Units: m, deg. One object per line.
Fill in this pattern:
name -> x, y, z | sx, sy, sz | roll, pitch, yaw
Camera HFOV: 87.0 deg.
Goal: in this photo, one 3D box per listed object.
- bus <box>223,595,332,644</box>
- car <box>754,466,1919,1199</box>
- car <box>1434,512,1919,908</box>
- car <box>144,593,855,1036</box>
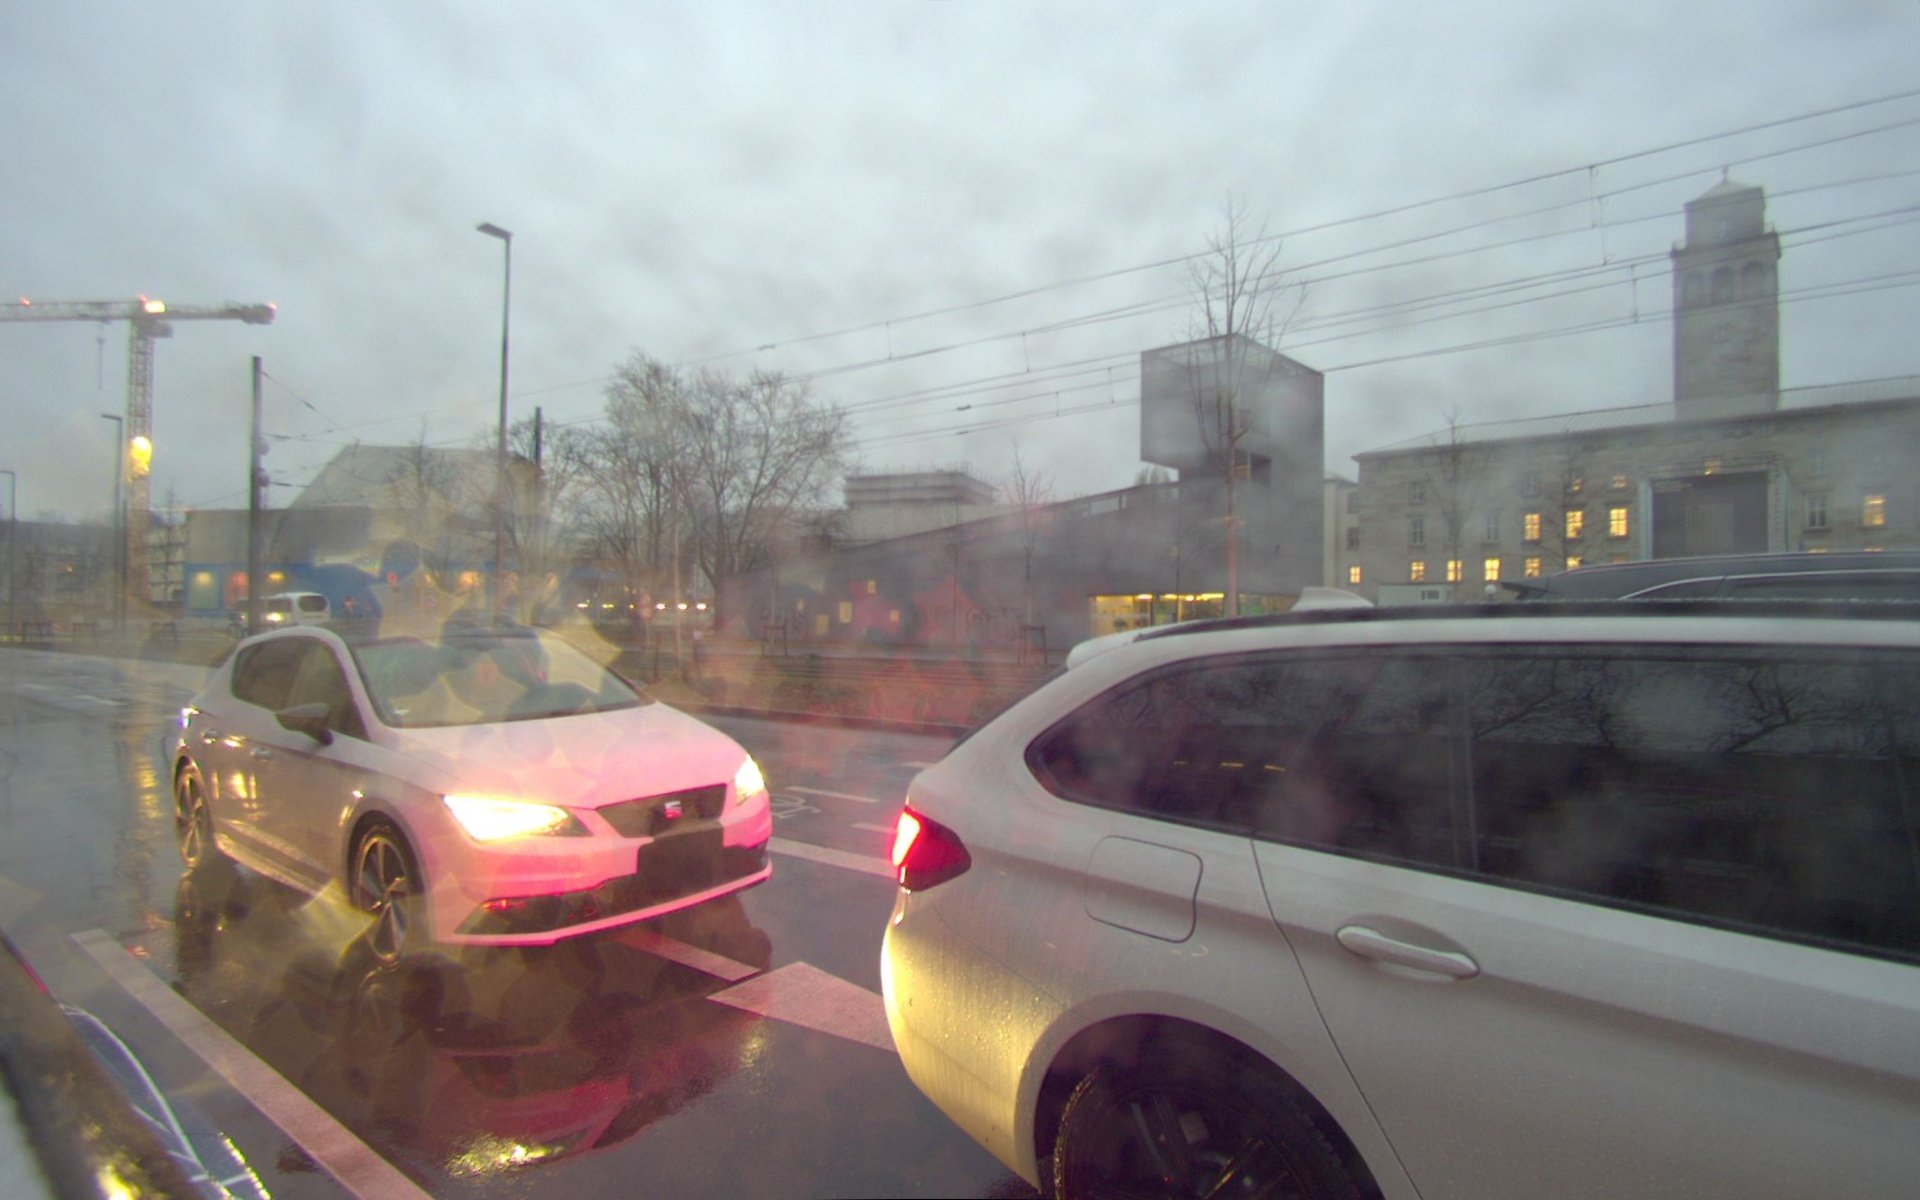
bus -> -53.309, 1.546, 78.905 | 12.277, 3.605, 2.783 | -1, -2, 35
car -> 1.960, 0.623, 1.725 | 4.919, 1.532, 1.890 | -1, -2, 40
car -> 5.009, 0.500, 4.977 | 4.605, 1.756, 1.686 | -1, -2, 38
car -> -2.660, 0.743, 5.392 | 4.124, 1.486, 1.757 | -1, 0, 38
